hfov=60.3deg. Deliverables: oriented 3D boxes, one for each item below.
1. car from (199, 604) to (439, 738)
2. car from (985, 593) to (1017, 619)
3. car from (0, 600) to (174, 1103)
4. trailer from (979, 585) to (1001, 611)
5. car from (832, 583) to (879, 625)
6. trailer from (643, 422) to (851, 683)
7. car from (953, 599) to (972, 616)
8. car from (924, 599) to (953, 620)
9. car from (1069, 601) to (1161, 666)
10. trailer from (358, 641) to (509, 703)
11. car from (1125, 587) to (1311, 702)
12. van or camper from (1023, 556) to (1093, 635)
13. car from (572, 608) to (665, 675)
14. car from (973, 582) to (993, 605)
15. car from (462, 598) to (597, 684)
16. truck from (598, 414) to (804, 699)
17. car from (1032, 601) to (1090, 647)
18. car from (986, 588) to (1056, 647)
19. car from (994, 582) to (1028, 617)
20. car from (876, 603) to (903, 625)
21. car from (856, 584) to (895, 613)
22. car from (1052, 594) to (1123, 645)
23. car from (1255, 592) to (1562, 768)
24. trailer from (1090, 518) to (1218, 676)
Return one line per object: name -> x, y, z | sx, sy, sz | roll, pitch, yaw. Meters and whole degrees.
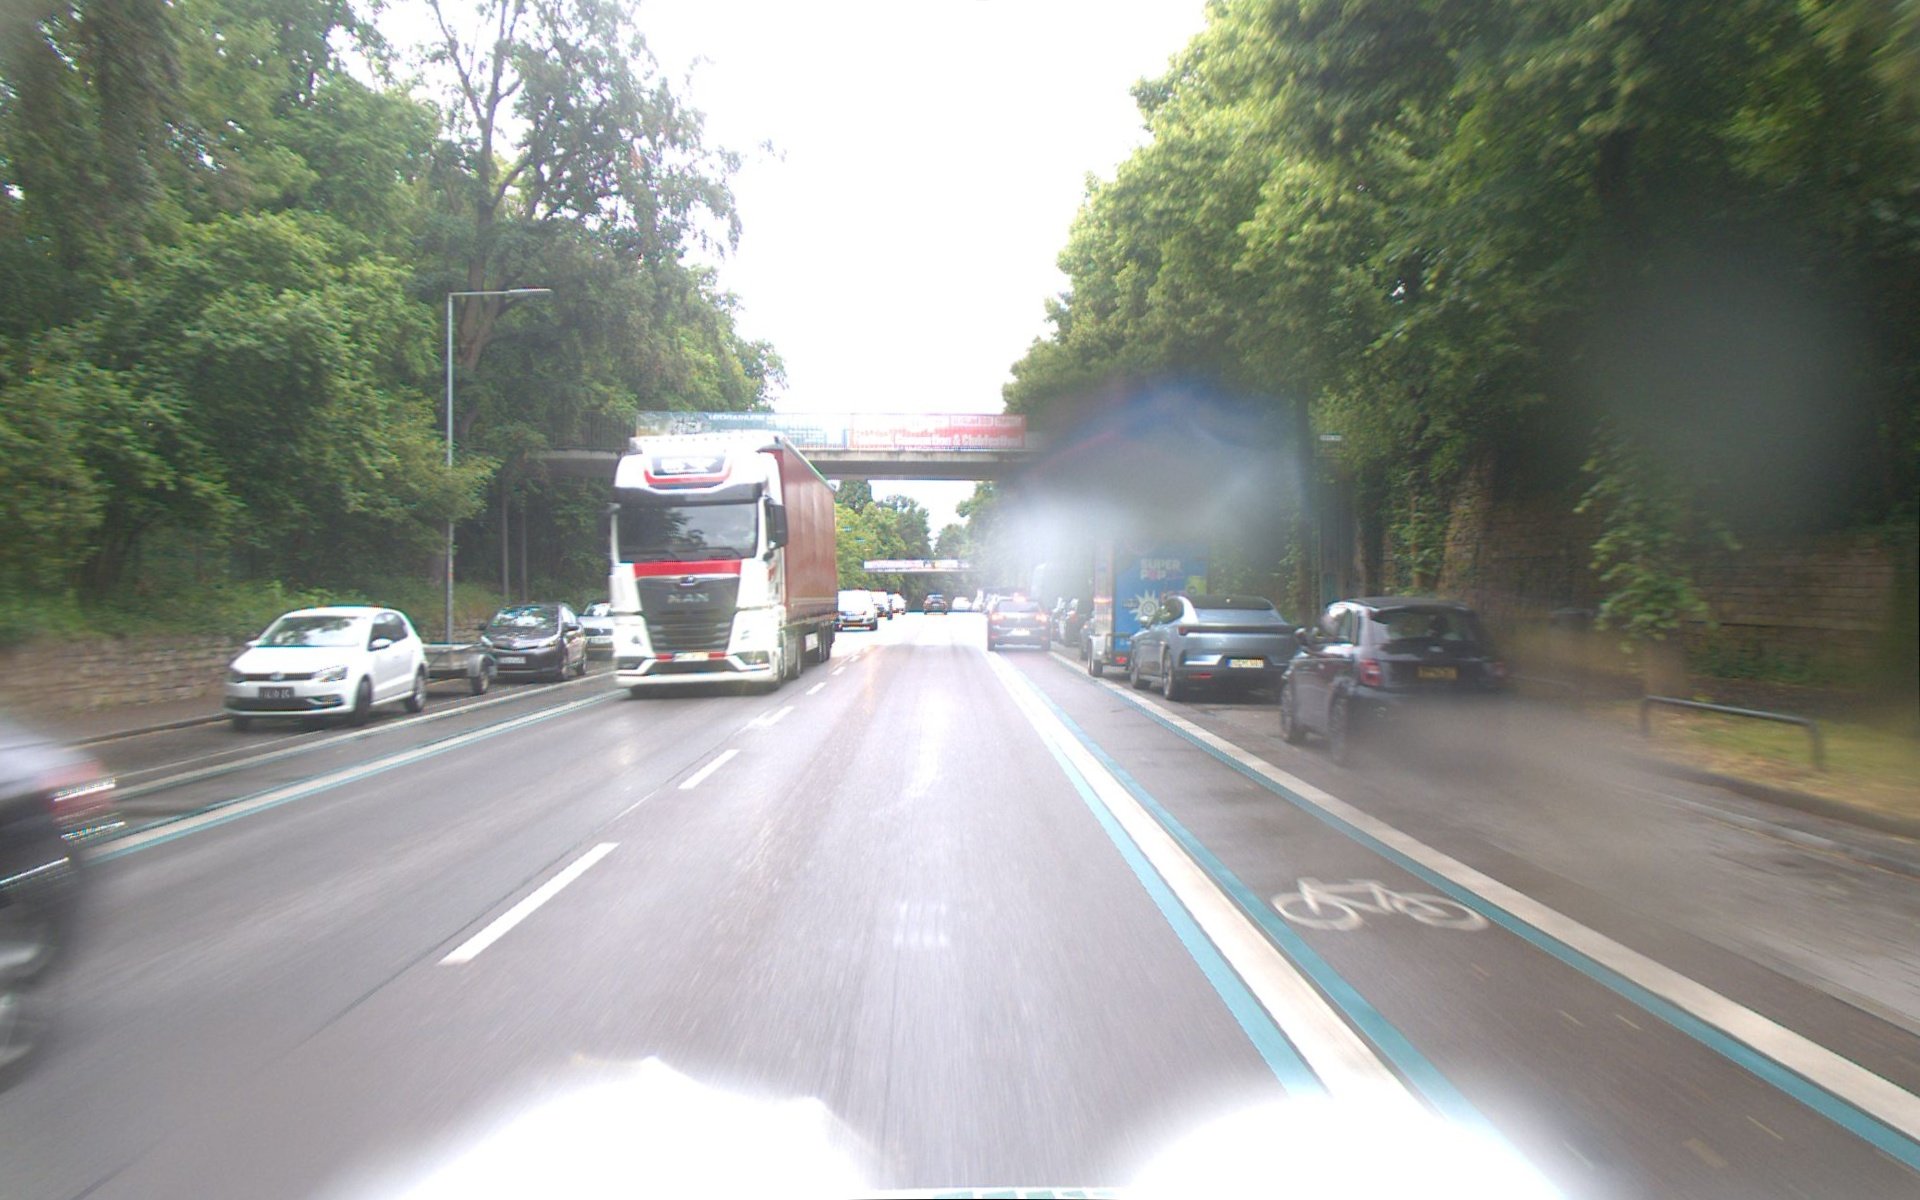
car -> -8.301, 0.857, 21.803 | 1.753, 1.508, 3.980 | -1, 1, -3
car -> 2.630, 0.371, 106.920 | 1.753, 1.570, 4.887 | 1, 0, -3
car -> -3.782, 0.790, 3.671 | 1.876, 1.482, 4.619 | -2, 0, -1
trailer -> 2.627, -0.188, 145.189 | 1.845, 2.204, 3.807 | -1, 0, 0
car -> -4.392, 0.159, 70.067 | 1.797, 1.695, 4.179 | 0, 0, -1
trailer -> -4.054, -0.848, 34.668 | 2.633, 4.333, 12.767 | -3, 0, 0
car -> 0.246, 0.742, 162.382 | 1.696, 1.611, 4.035 | -1, 0, -1
car -> -1.666, 0.721, 126.196 | 2.097, 1.518, 4.496 | 0, 0, -3
car -> 3.542, 0.735, 38.311 | 1.553, 1.376, 3.860 | 1, 0, -3
trailer -> -8.523, 1.148, 26.995 | 1.512, 0.833, 3.303 | 0, 0, -2
car -> 3.861, 0.606, 25.566 | 1.861, 1.574, 4.752 | 1, 1, -3
van or camper -> 3.639, -0.168, 62.515 | 2.001, 2.777, 6.898 | 1, 0, -2
car -> -8.832, 1.037, 43.049 | 1.654, 1.573, 4.231 | -1, 1, -2
car -> 2.224, -0.660, 161.882 | 1.850, 2.164, 4.045 | 0, 0, 0
car -> -8.335, 0.742, 32.363 | 1.795, 1.502, 4.038 | -1, 1, -4
truck -> -4.058, -0.652, 26.947 | 2.466, 4.117, 4.915 | -2, 0, -1
car -> 3.343, 0.774, 55.366 | 1.651, 1.441, 4.099 | 0, 0, -1
car -> 1.631, 0.456, 45.367 | 1.781, 1.534, 4.139 | 0, 0, 0
car -> 3.143, -0.029, 102.023 | 1.887, 2.057, 4.663 | 1, 0, -1
car -> -5.372, 1.053, 126.956 | 1.882, 1.588, 4.620 | 1, 0, -1
car -> -5.017, -0.103, 98.678 | 1.925, 1.656, 4.321 | -1, 0, 1
car -> 3.776, 0.552, 49.672 | 1.652, 1.441, 4.195 | -1, 0, -2
car -> 4.347, 0.692, 16.796 | 1.788, 1.529, 4.570 | 0, 0, -1
trailer -> 3.619, -0.063, 31.509 | 1.913, 2.807, 4.006 | 0, 0, -1
